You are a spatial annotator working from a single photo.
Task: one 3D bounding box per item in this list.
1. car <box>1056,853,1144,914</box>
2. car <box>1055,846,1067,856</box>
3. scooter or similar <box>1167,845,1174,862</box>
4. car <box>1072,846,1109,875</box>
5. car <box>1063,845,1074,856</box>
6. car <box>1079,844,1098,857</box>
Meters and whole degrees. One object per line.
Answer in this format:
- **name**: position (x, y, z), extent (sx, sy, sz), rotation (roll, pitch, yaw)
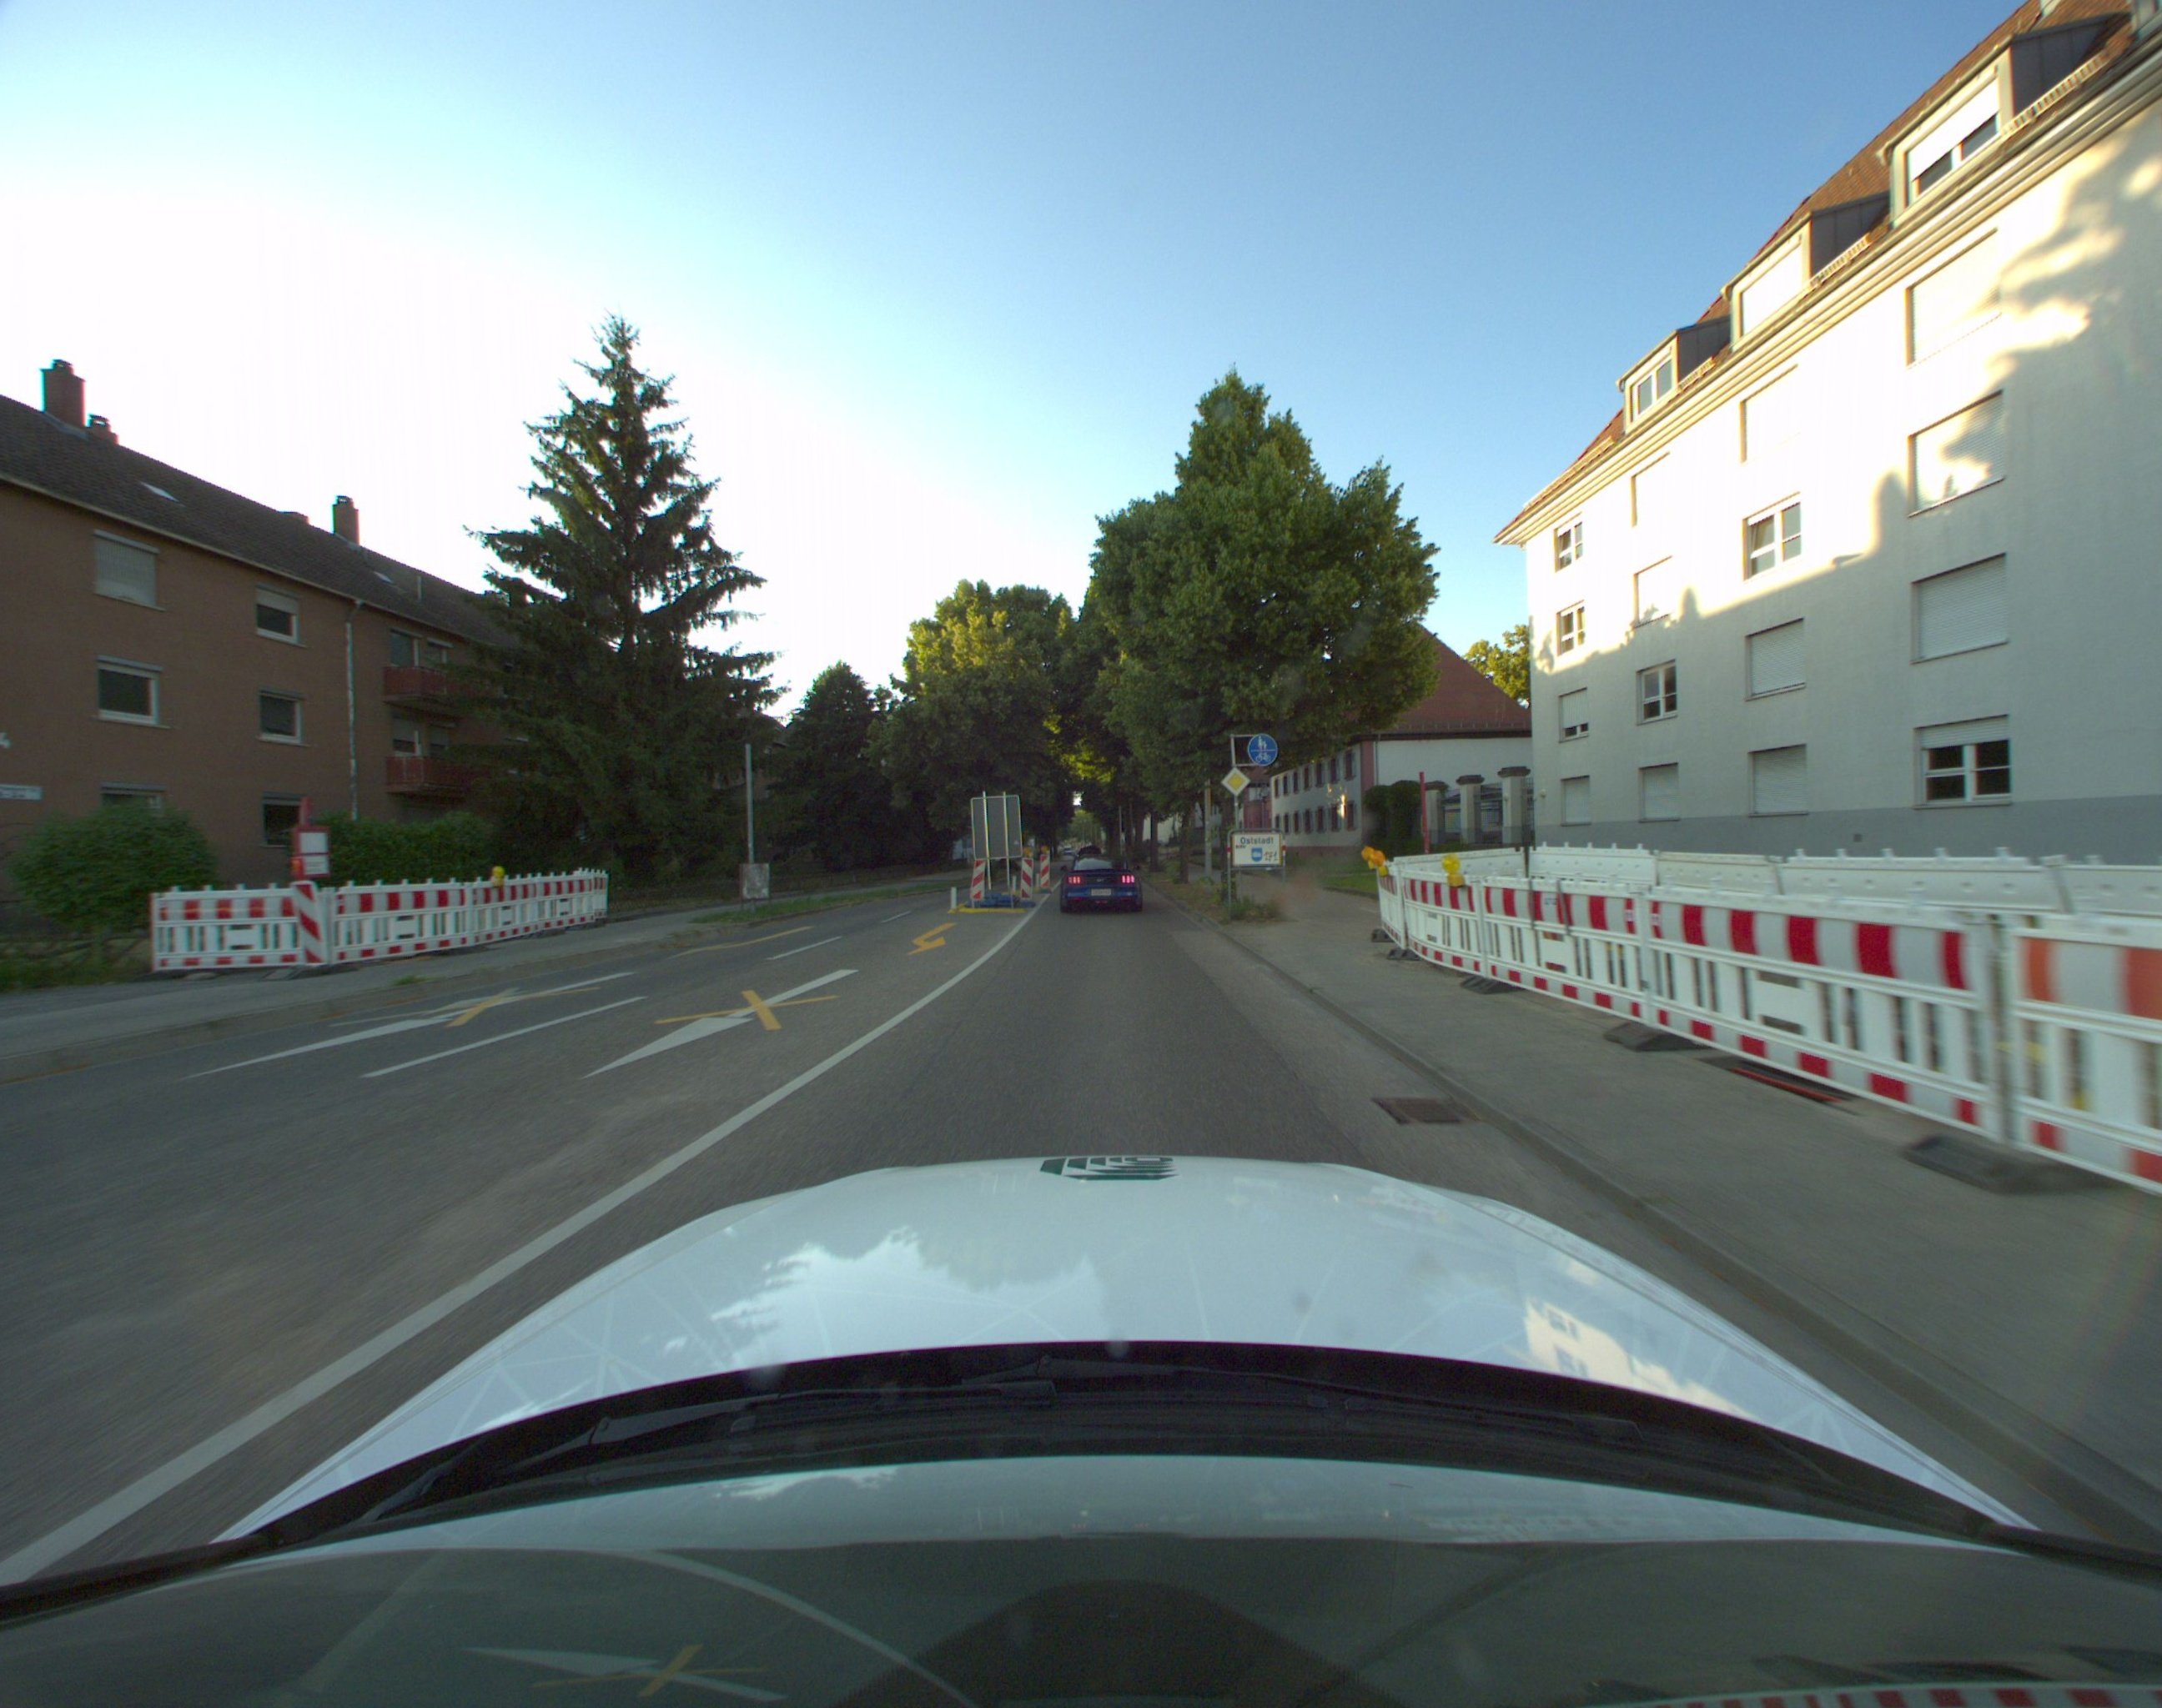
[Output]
- **car**: position (0.445, 0.650, 19.940), extent (1.940, 1.326, 4.000), rotation (0, 0, 0)
- **car**: position (-4.775, -0.666, 192.894), extent (2.327, 2.197, 5.311), rotation (-2, 0, 2)
- **scooter or similar**: position (6.590, -0.045, 59.846), extent (0.239, 1.276, 1.265), rotation (-2, 0, -4)
- **car**: position (0.558, 0.320, 44.710), extent (1.939, 1.527, 4.003), rotation (0, 0, 2)
- **car**: position (-3.102, -0.886, 204.526), extent (2.484, 2.696, 5.829), rotation (-2, 0, 0)
- **car**: position (0.826, -0.388, 88.295), extent (1.939, 1.326, 4.003), rotation (0, 0, 2)
